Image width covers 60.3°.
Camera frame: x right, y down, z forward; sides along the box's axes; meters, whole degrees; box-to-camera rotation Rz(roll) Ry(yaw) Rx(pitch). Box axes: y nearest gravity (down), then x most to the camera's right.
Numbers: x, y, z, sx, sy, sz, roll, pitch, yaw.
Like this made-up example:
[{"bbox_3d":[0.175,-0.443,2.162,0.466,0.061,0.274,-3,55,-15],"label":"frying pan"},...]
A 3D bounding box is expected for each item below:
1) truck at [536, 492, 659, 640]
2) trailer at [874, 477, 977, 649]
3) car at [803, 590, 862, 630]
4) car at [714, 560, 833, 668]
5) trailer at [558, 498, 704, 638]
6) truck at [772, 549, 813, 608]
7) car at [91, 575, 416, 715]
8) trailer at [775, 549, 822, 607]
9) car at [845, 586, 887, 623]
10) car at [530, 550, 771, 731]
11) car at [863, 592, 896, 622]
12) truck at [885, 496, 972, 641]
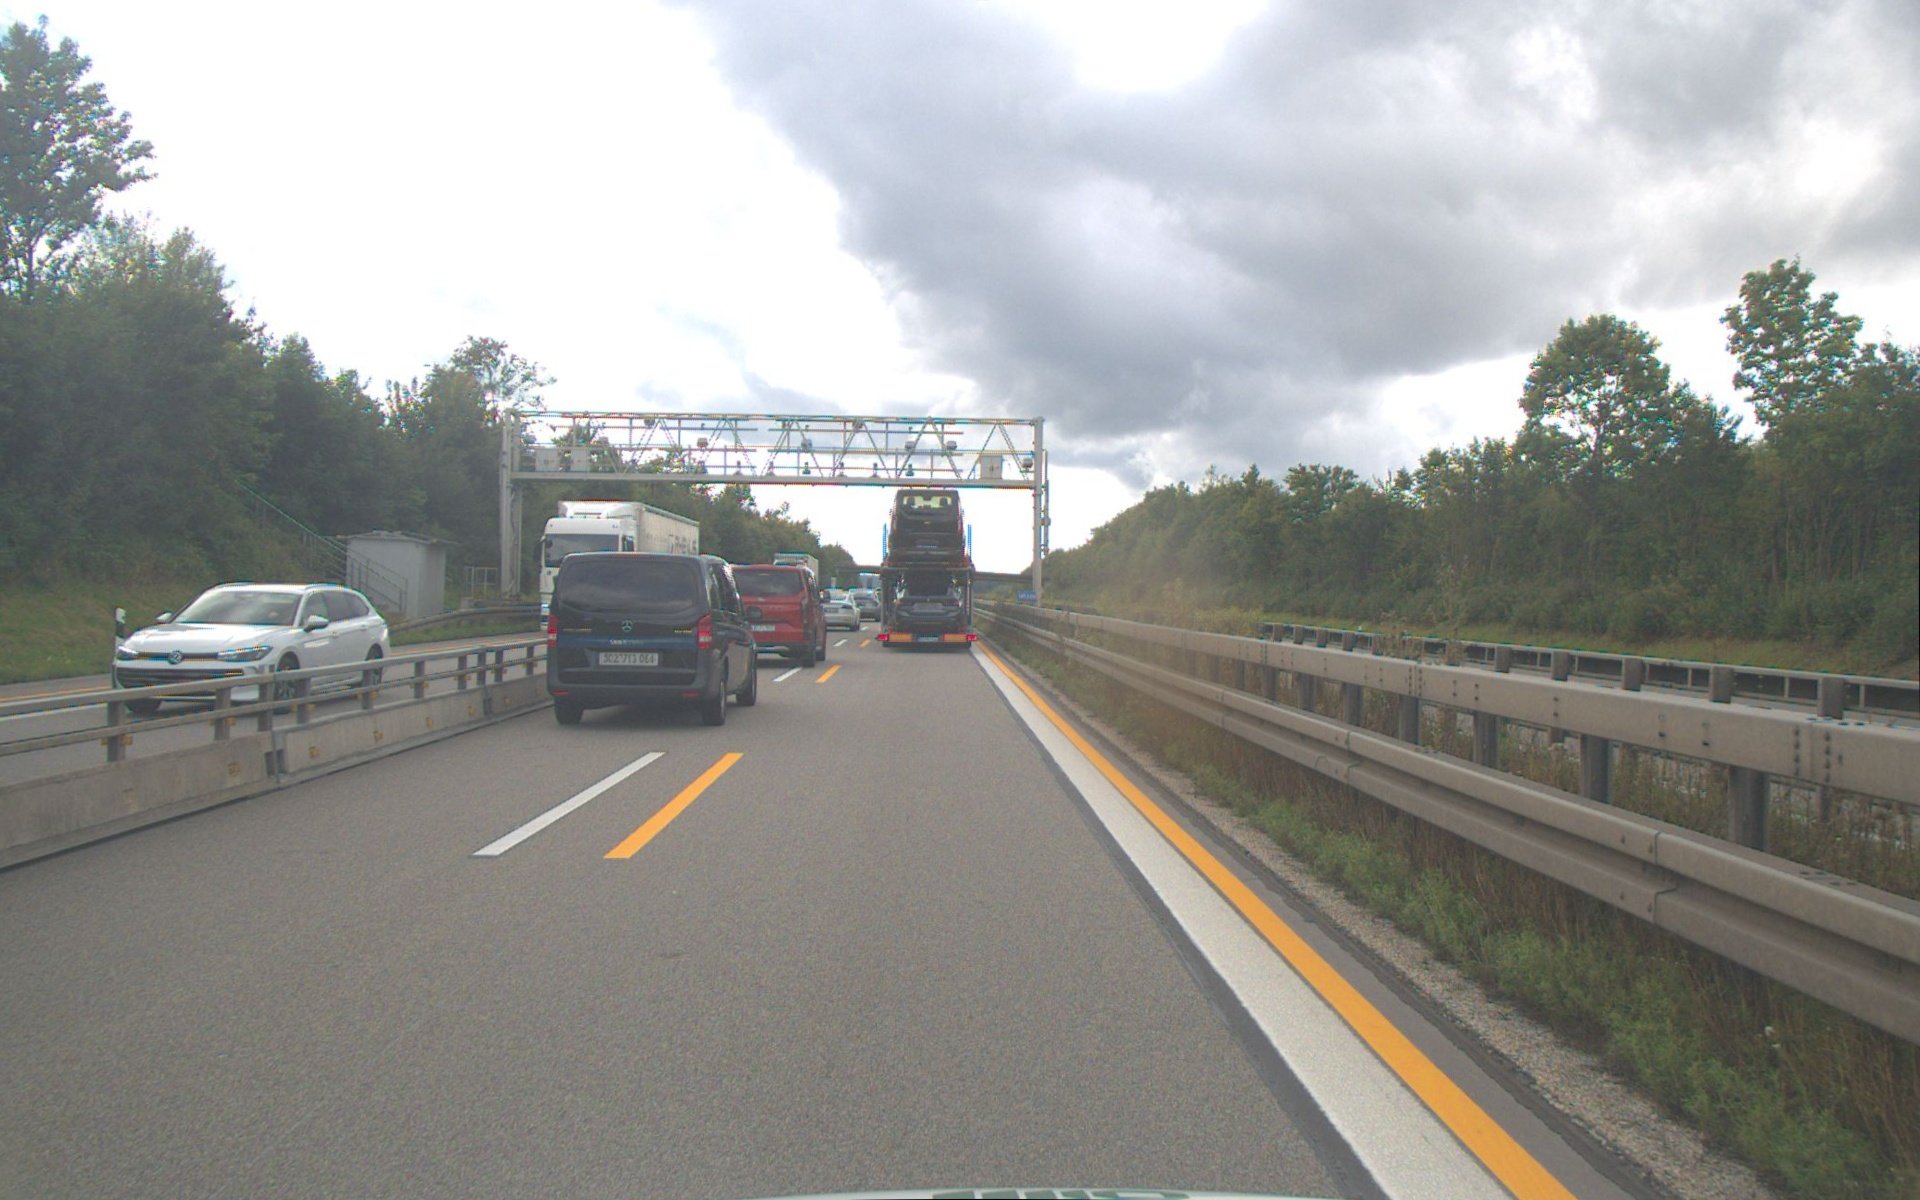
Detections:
[{"bbox_3d":[-10.981,-1.005,50.575,2.546,4.227,5.618,1,0,-2],"label":"truck"},{"bbox_3d":[-0.895,-0.901,46.153,2.464,4.177,11.111,1,0,-1],"label":"trailer"},{"bbox_3d":[-4.776,0.368,62.538,1.990,1.456,4.576,0,0,-2],"label":"car"},{"bbox_3d":[-3.724,0.261,33.806,1.990,2.049,4.576,0,0,-1],"label":"car"},{"bbox_3d":[-11.162,-1.048,57.596,2.546,4.227,13.988,1,1,-1],"label":"trailer"},{"bbox_3d":[-12.396,-1.625,122.954,2.546,4.227,5.618,1,0,-2],"label":"truck"},{"bbox_3d":[-8.570,0.470,20.627,1.967,1.494,4.900,1,1,-1],"label":"car"},{"bbox_3d":[-12.568,-1.704,129.535,2.546,4.227,13.988,1,1,-1],"label":"trailer"},{"bbox_3d":[-4.681,0.205,82.677,1.990,1.788,4.576,0,0,-2],"label":"car"},{"bbox_3d":[-3.542,0.418,20.027,1.953,1.875,5.608,0,0,-1],"label":"car"},{"bbox_3d":[-4.889,0.403,100.904,1.990,1.788,4.576,0,0,-2],"label":"car"},{"bbox_3d":[-0.949,-0.903,50.912,2.464,4.177,5.684,1,0,-1],"label":"truck"}]
